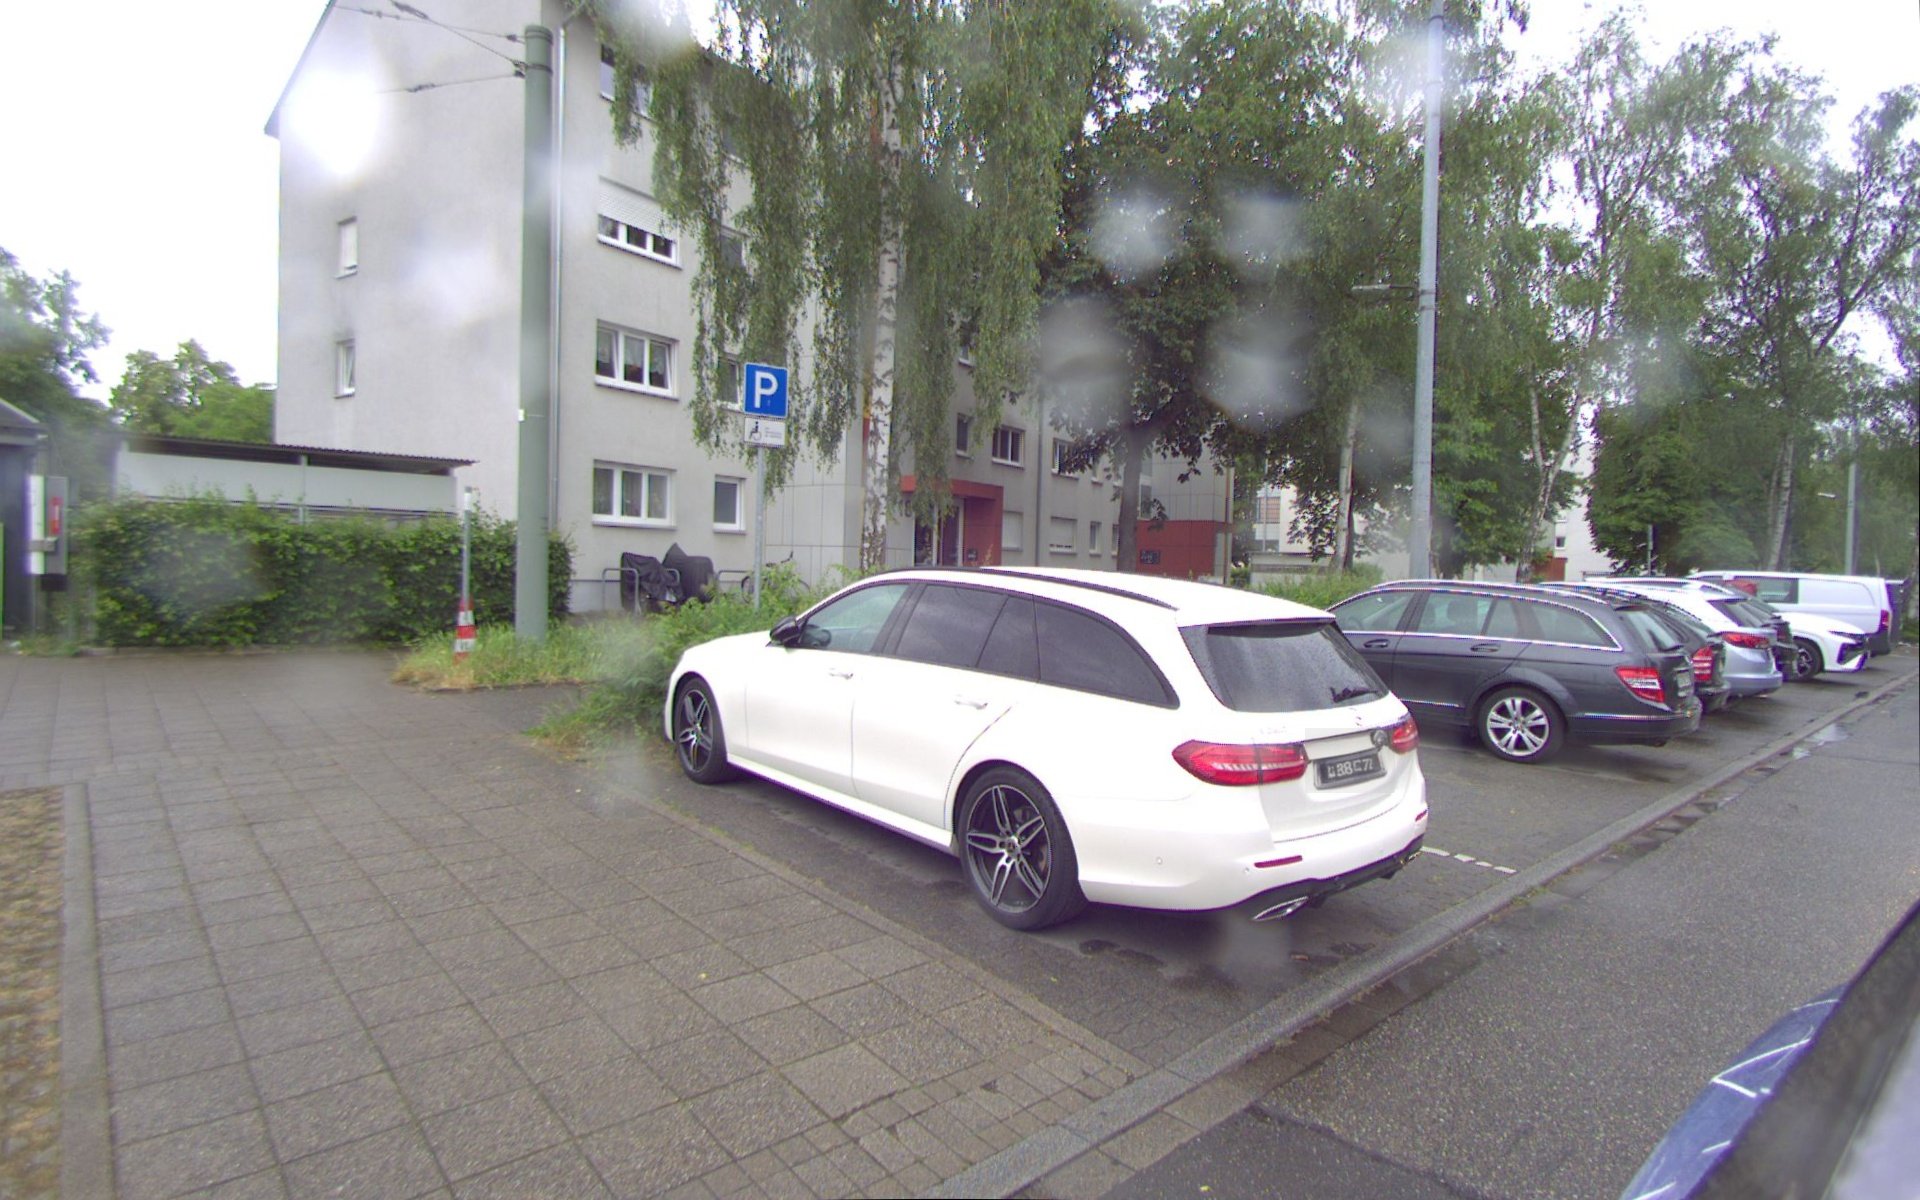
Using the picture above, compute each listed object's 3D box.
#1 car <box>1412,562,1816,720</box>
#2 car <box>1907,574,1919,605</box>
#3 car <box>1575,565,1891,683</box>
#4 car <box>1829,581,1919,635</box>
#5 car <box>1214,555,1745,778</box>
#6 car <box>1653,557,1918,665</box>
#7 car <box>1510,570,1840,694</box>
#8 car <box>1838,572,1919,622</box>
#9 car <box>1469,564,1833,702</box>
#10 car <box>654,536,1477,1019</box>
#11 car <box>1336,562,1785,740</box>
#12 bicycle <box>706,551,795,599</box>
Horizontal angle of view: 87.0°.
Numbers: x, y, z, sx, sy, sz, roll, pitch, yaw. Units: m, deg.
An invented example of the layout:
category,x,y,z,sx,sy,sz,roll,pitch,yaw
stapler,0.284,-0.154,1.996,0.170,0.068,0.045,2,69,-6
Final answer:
category,x,y,z,sx,sy,sz,roll,pitch,yaw
car,8.246,0.383,13.045,1.653,1.514,4.044,-1,5,-43
car,53.233,-0.569,53.770,1.866,1.701,3.998,-1,1,-36
car,13.705,0.320,18.167,1.651,1.637,4.181,0,5,-40
car,34.427,0.271,36.801,1.866,1.937,3.998,-1,0,-36
car,4.611,0.415,9.455,1.653,1.456,4.044,-1,5,-43
car,17.545,0.137,21.659,4.172,1.888,1.654,6,5,43
car,11.389,0.398,16.325,1.653,1.514,4.044,-1,5,-43
car,37.750,-0.135,40.225,1.866,1.937,3.998,-1,0,-36
car,9.855,0.355,14.674,1.653,1.514,4.044,-1,5,-43
car,0.084,0.470,5.609,1.651,1.456,4.622,-1,5,-41
car,6.629,0.413,11.522,1.653,1.456,4.044,-1,5,-43
bicycle,-4.522,-0.533,21.967,0.701,1.005,1.918,0,0,37
